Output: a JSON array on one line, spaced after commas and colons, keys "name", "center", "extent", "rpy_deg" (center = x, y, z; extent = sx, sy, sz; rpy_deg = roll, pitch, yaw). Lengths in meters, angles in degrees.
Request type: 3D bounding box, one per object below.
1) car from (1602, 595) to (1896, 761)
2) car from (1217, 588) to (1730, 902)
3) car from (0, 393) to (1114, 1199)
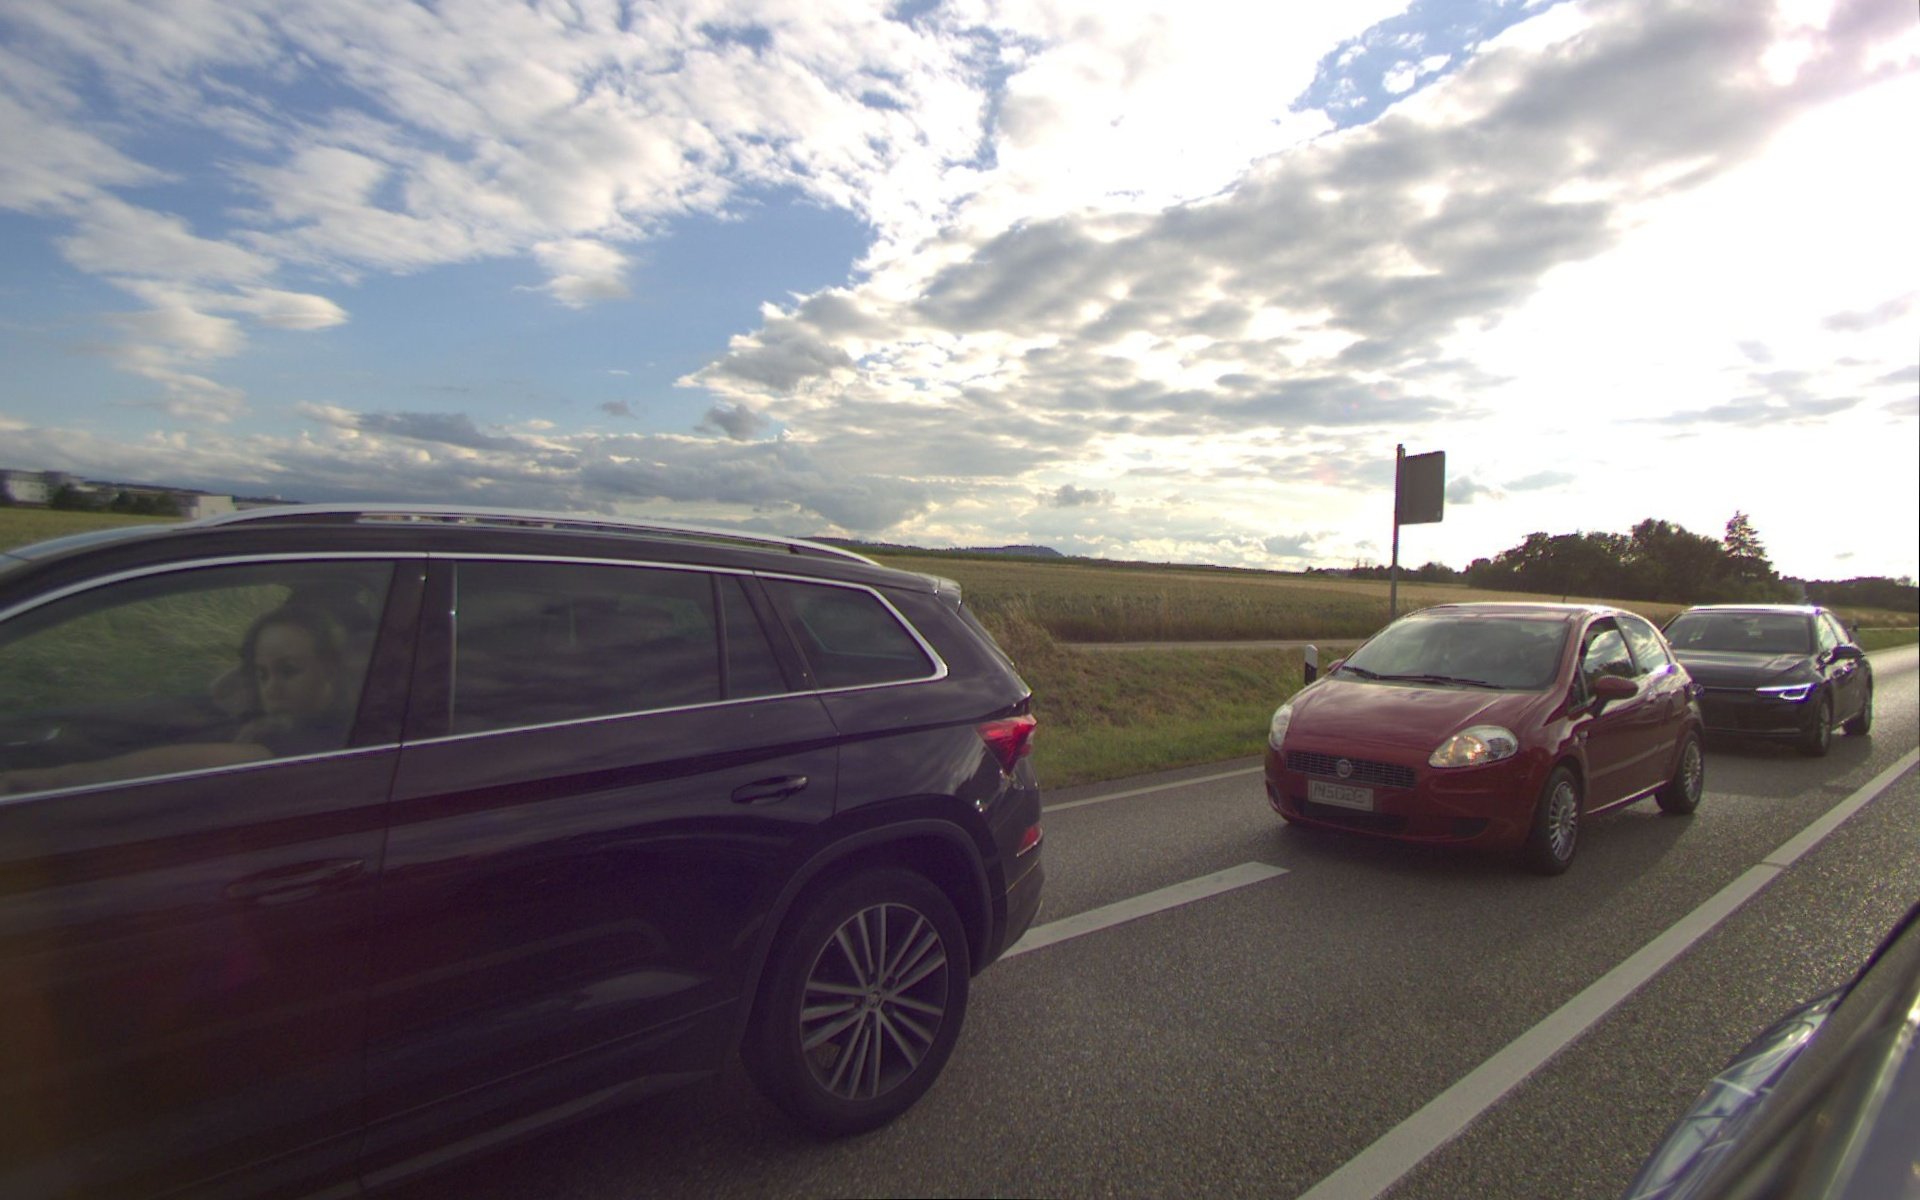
[{"name": "car", "center": [8.712, 0.688, 11.058], "extent": [3.962, 1.475, 1.797], "rpy_deg": [0, 0, -41]}, {"name": "car", "center": [3.559, 0.672, 6.709], "extent": [3.840, 1.475, 1.710], "rpy_deg": [-1, 0, -41]}, {"name": "car", "center": [-1.782, 0.535, 2.562], "extent": [4.477, 1.730, 1.839], "rpy_deg": [-1, 0, -41]}]
